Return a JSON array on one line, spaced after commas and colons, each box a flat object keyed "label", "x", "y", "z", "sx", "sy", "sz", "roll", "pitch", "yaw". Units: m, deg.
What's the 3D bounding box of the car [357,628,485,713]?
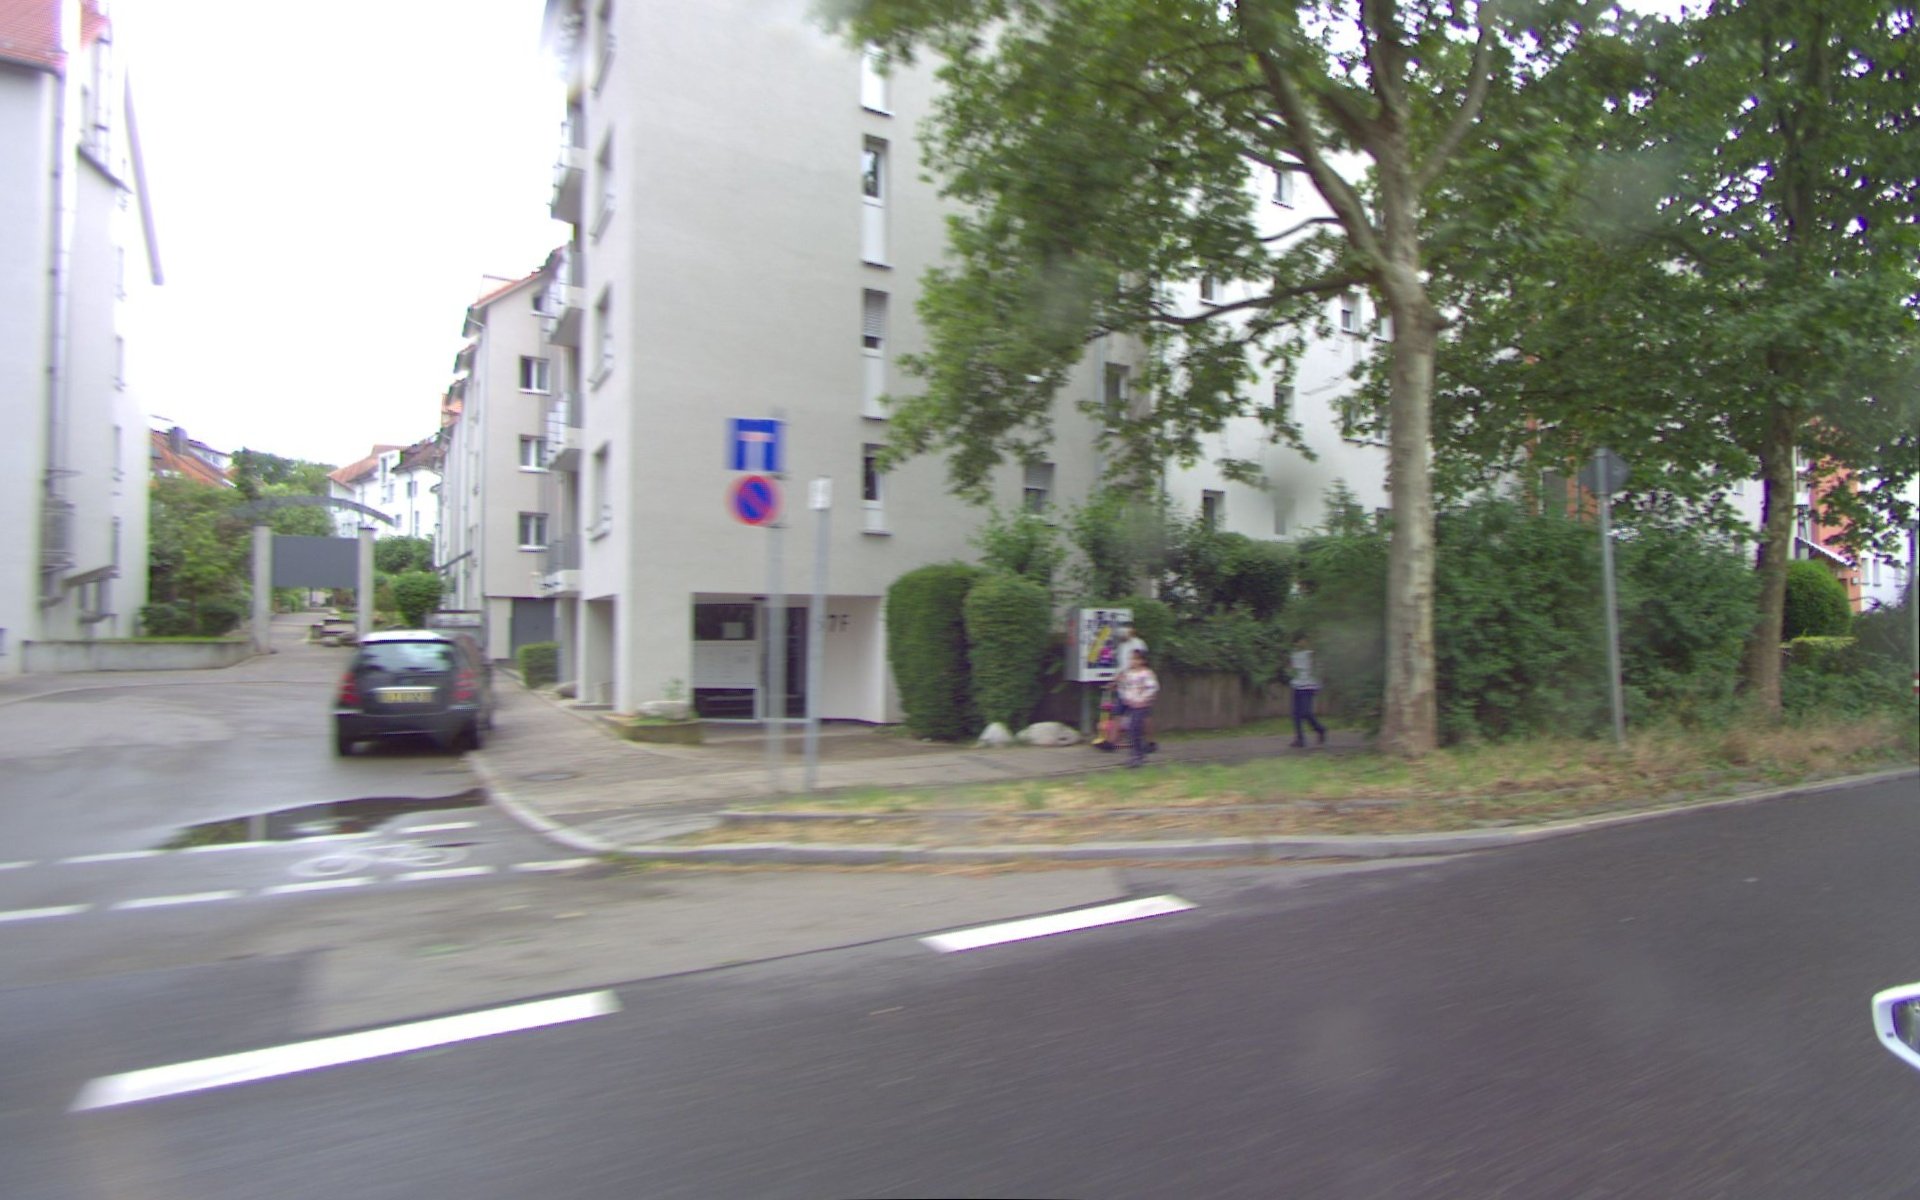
[{"label": "car", "x": -10.530, "y": 1.317, "z": 19.899, "sx": 1.880, "sy": 1.496, "sz": 3.978, "roll": 1, "pitch": -2, "yaw": -23}]

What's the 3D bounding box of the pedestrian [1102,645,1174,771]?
[{"label": "pedestrian", "x": 2.095, "y": 1.245, "z": 11.821, "sx": 0.584, "sy": 1.415, "sz": 0.592, "roll": 1, "pitch": -2, "yaw": -32}]

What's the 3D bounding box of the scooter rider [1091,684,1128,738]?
[{"label": "scooter rider", "x": 2.013, "y": 1.482, "z": 13.501, "sx": 0.391, "sy": 0.693, "sz": 0.325, "roll": 2, "pitch": -3, "yaw": -44}]

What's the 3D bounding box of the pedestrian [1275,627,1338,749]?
[{"label": "pedestrian", "x": 4.837, "y": 1.206, "z": 14.038, "sx": 0.584, "sy": 1.652, "sz": 0.592, "roll": 1, "pitch": -2, "yaw": -32}]

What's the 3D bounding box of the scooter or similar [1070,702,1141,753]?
[{"label": "scooter or similar", "x": 1.958, "y": 1.695, "z": 13.454, "sx": 1.050, "sy": 0.603, "sz": 0.368, "roll": 2, "pitch": -3, "yaw": -43}]

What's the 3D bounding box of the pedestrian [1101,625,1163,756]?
[{"label": "pedestrian", "x": 2.234, "y": 1.157, "z": 13.046, "sx": 0.584, "sy": 1.652, "sz": 0.537, "roll": 1, "pitch": -2, "yaw": -32}]

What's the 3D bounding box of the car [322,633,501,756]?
[{"label": "car", "x": -7.709, "y": 1.223, "z": 14.479, "sx": 1.880, "sy": 1.496, "sz": 3.978, "roll": 1, "pitch": -2, "yaw": -23}]
